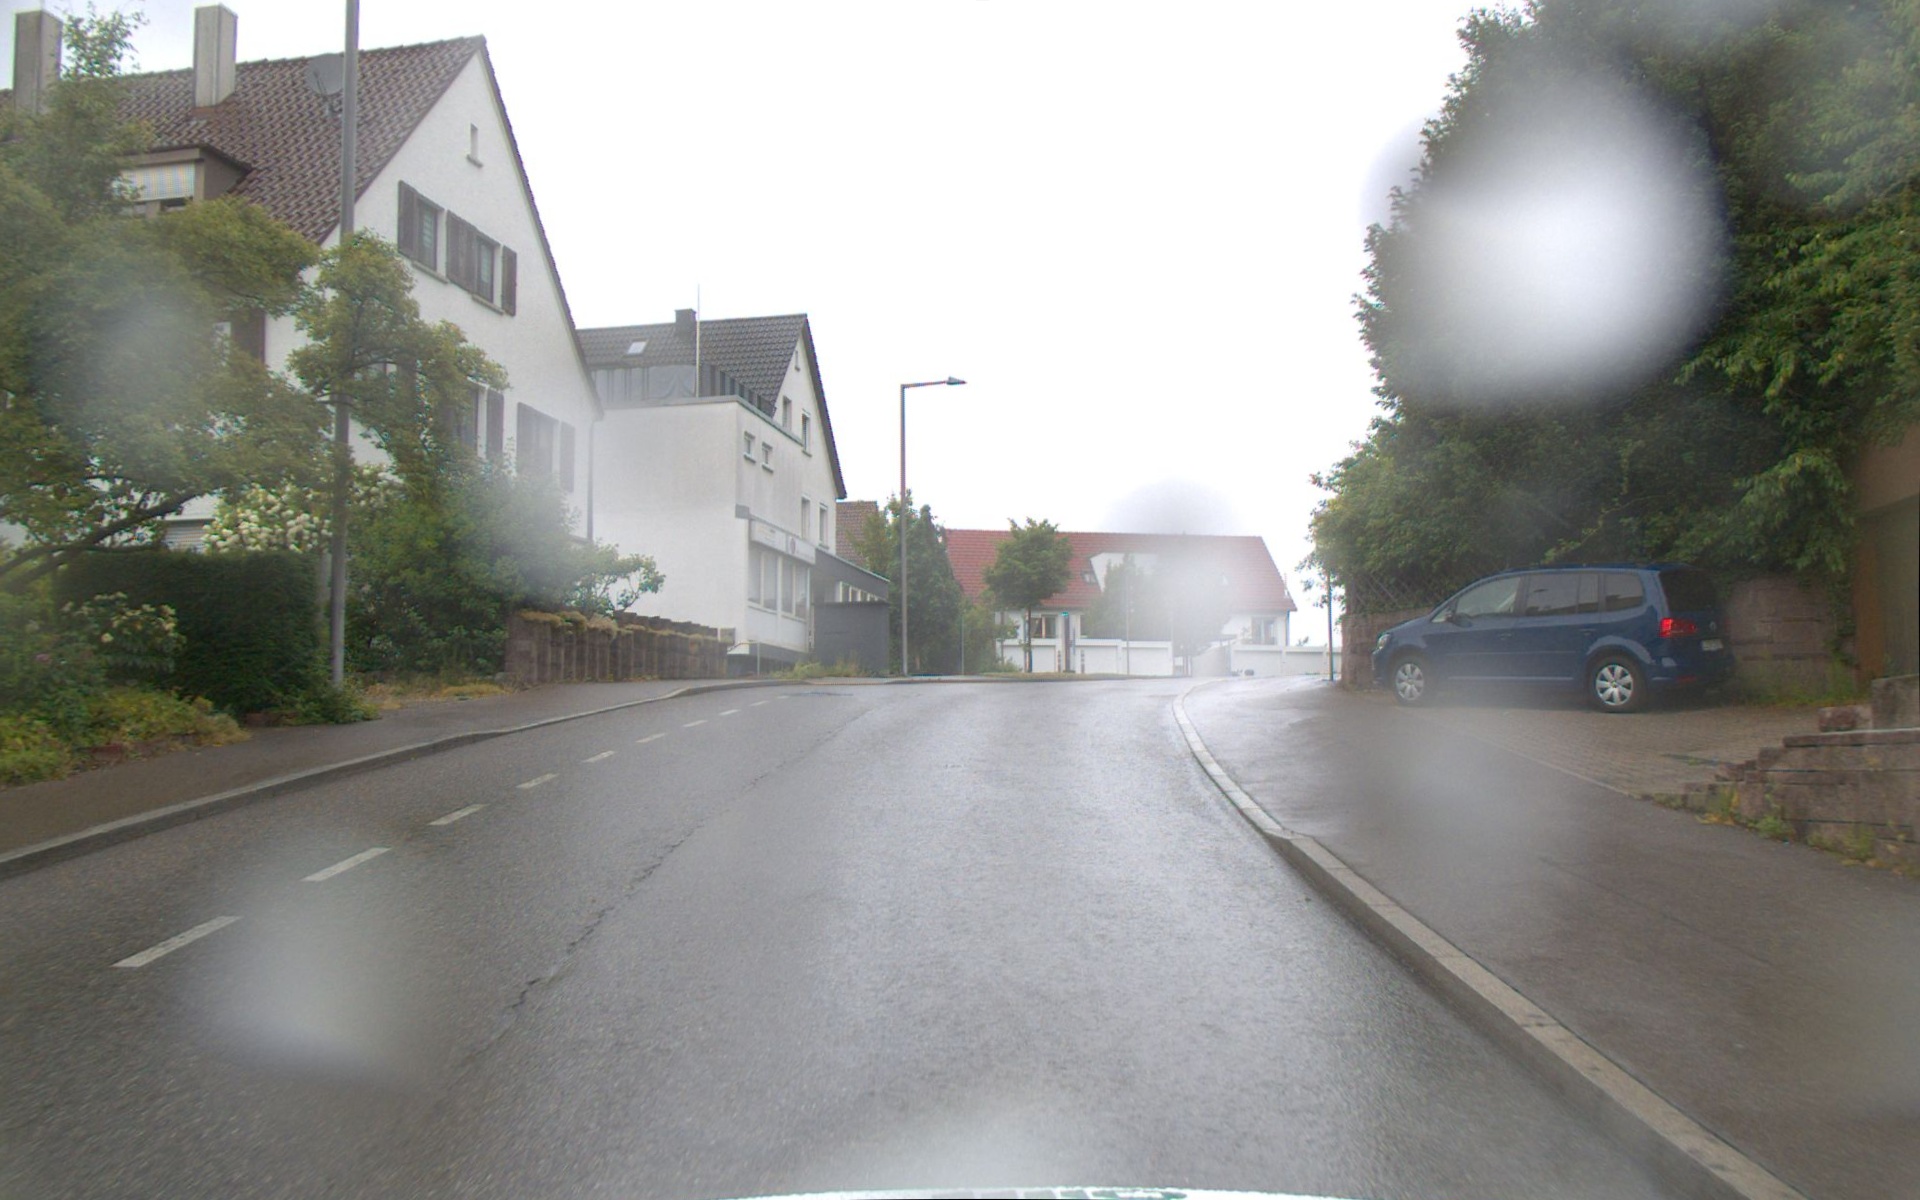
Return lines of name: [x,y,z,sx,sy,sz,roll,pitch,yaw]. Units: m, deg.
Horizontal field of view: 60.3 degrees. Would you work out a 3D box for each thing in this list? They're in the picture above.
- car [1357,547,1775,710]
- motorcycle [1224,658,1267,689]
car: [7.133,0.395,19.815,1.840,1.634,4.275,-6,1,-40]
motorcycle: [13.294,3.419,76.945,2.023,1.345,0.700,0,-6,-36]
